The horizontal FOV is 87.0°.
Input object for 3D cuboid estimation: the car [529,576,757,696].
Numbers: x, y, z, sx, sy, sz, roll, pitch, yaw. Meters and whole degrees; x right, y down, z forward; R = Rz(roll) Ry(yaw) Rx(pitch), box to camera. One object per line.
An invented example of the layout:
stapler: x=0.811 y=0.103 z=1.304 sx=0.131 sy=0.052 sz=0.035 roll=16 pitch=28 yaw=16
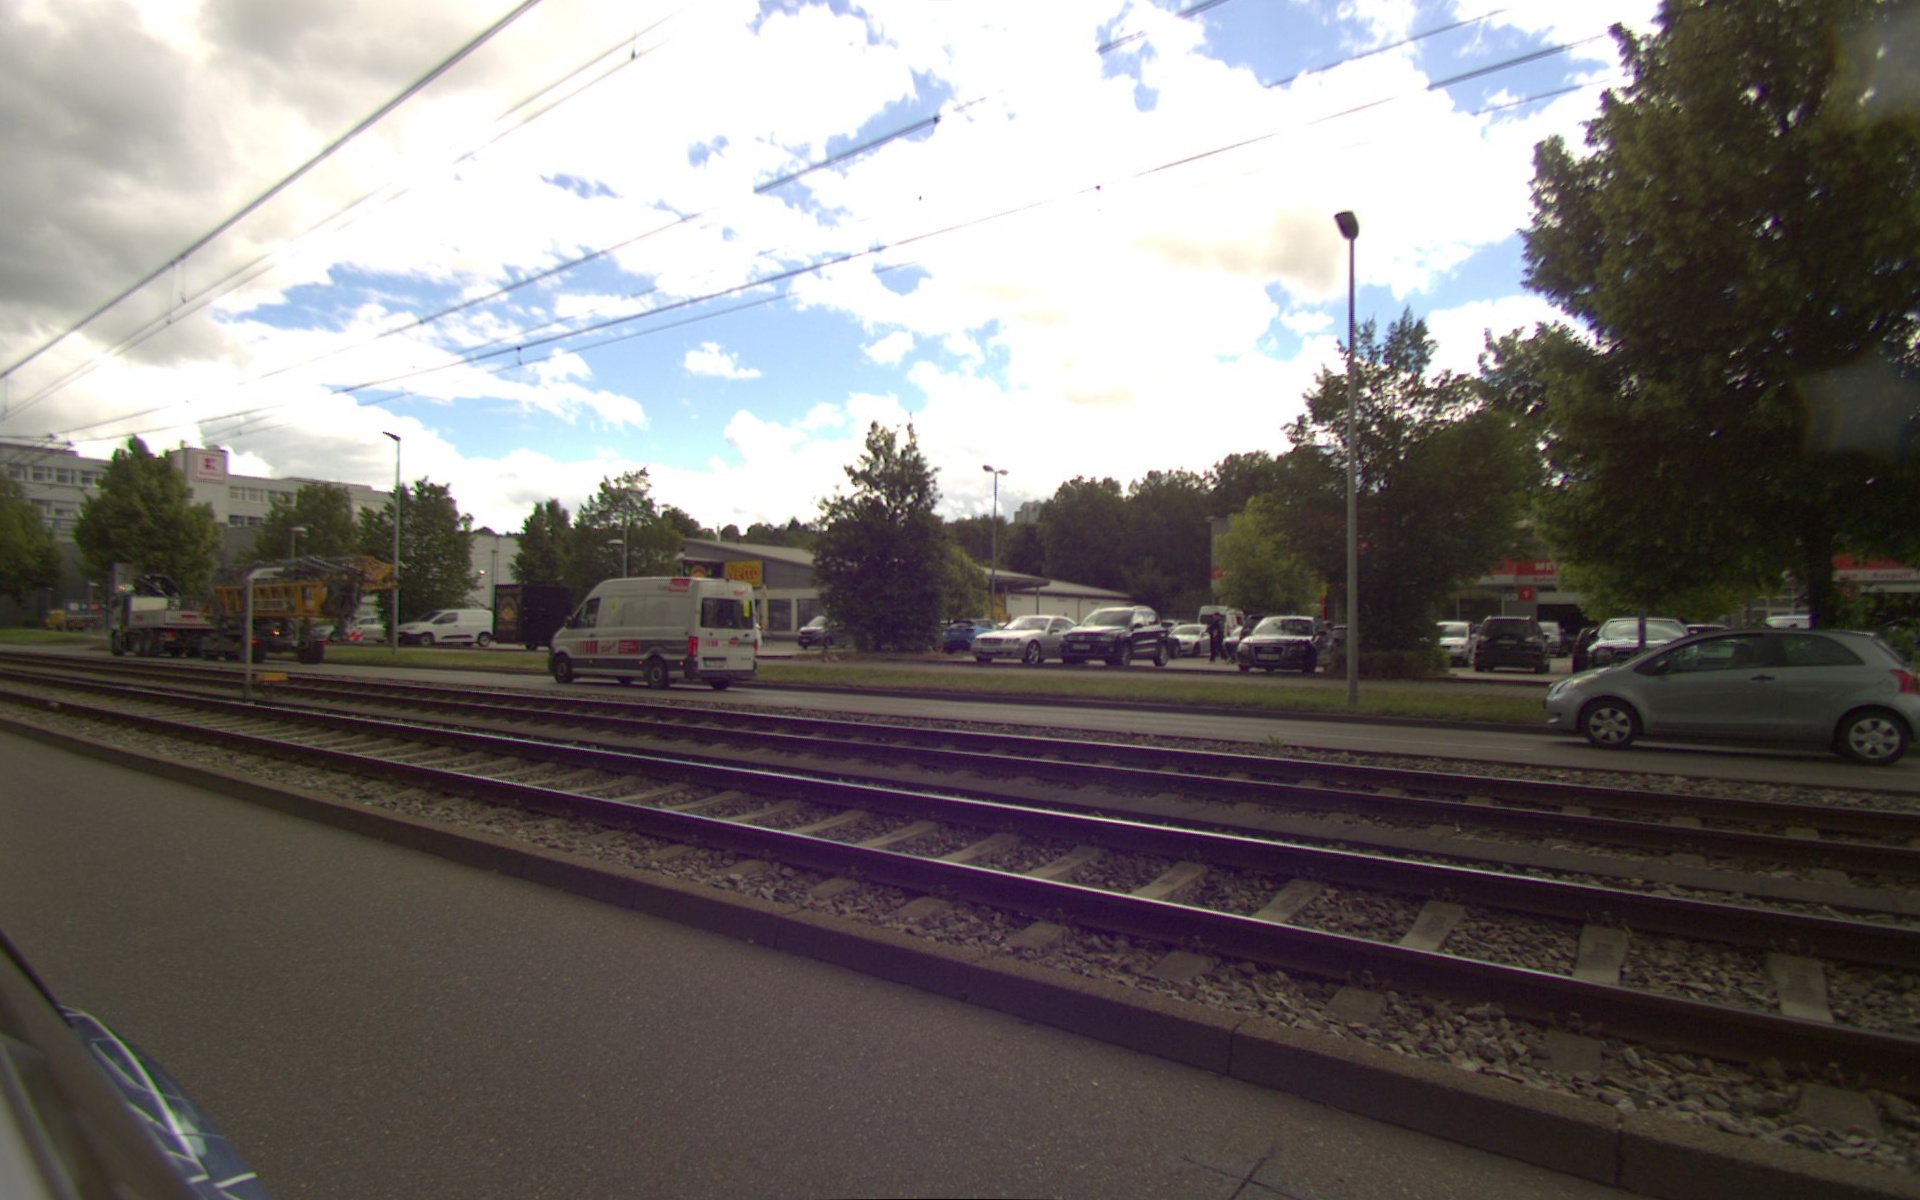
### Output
car: x=-7.571 y=0.853 z=23.834 sx=5.986 sy=2.518 sz=1.852 roll=-1 pitch=-4 yaw=35

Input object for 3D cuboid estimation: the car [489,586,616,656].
car: x=-17.283 y=0.950 z=43.079 sx=2.284 sy=2.769 sz=4.430 roll=-1 pitch=-3 yaw=36

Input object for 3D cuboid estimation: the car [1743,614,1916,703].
car: x=16.267 y=1.011 z=19.154 sx=2.089 sy=1.377 sz=3.952 roll=-1 pitch=0 yaw=36

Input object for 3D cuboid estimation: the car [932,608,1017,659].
car: x=0.676 y=1.413 z=43.714 sx=1.947 sy=2.029 sz=3.698 roll=-1 pitch=0 yaw=34

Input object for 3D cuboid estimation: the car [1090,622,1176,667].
car: x=6.759 y=1.691 z=39.263 sx=1.947 sy=1.501 sz=3.698 roll=-1 pitch=0 yaw=34

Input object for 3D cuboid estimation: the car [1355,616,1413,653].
car: x=20.844 y=1.642 z=49.705 sx=1.916 sy=1.634 sz=3.698 roll=-1 pitch=0 yaw=34

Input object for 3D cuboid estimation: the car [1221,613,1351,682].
car: x=8.047 y=1.099 z=24.777 sx=1.933 sy=1.432 sz=3.952 roll=-1 pitch=0 yaw=36

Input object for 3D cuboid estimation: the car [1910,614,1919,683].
car: x=17.985 y=0.922 z=17.303 sx=1.996 sy=1.245 sz=3.952 roll=-1 pitch=0 yaw=36

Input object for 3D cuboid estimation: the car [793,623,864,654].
car: x=-7.374 y=2.143 z=56.930 sx=1.773 sy=1.518 sz=3.953 roll=-1 pitch=0 yaw=35

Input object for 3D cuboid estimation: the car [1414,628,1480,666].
car: x=17.923 y=1.690 z=37.188 sx=1.661 sy=1.140 sz=3.698 roll=-1 pitch=0 yaw=34

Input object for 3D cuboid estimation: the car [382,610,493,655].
car: x=-25.042 y=1.512 z=48.615 sx=1.998 sy=1.933 sz=4.302 roll=-1 pitch=0 yaw=39

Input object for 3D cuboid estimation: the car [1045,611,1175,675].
car: x=4.178 y=1.125 z=27.744 sx=1.933 sy=1.518 sz=3.952 roll=-1 pitch=0 yaw=36

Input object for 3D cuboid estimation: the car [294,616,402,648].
car: x=-32.699 y=1.695 z=54.191 sx=1.998 sy=1.504 sz=4.555 roll=-1 pitch=0 yaw=39

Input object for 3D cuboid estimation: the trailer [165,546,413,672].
trailer: x=-24.844 y=0.466 z=36.891 sx=14.399 sy=3.927 sz=2.647 roll=-1 pitch=-4 yaw=37

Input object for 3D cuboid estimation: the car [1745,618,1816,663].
car: x=33.444 y=1.611 z=41.343 sx=1.996 sy=1.605 sz=3.952 roll=-1 pitch=0 yaw=36

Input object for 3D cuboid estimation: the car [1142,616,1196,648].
car: x=11.801 y=1.791 z=56.929 sx=1.719 sy=1.634 sz=3.698 roll=-1 pitch=0 yaw=34

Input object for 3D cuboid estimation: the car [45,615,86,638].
car: x=-81.918 y=2.434 z=92.693 sx=3.991 sy=2.029 sz=1.976 roll=-1 pitch=-3 yaw=36

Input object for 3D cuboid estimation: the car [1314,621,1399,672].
car: x=13.606 y=1.540 z=34.629 sx=1.947 sy=1.509 sz=3.698 roll=-1 pitch=0 yaw=34

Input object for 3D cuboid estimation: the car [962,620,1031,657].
car: x=1.840 y=1.891 z=50.108 sx=1.719 sy=1.634 sz=3.698 roll=-1 pitch=0 yaw=34

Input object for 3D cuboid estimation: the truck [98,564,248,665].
truck: x=-34.095 y=0.710 z=43.716 sx=8.615 sy=3.997 sz=2.866 roll=-1 pitch=-3 yaw=37

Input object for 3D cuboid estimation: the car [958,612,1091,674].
car: x=1.906 y=1.170 z=28.923 sx=1.998 sy=1.518 sz=3.952 roll=-1 pitch=0 yaw=36

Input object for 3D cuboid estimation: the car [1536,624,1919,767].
car: x=9.388 y=1.082 z=12.300 sx=3.991 sy=1.494 sz=1.976 roll=-1 pitch=-4 yaw=35

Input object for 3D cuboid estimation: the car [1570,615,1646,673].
car: x=19.799 y=1.336 z=30.880 sx=1.821 sy=1.660 sz=3.697 roll=-1 pitch=-3 yaw=34

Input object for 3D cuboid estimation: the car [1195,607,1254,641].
car: x=14.212 y=1.257 z=54.259 sx=1.916 sy=1.634 sz=3.698 roll=-1 pitch=0 yaw=34

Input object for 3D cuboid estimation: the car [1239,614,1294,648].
car: x=16.063 y=1.601 z=52.913 sx=1.719 sy=1.634 sz=3.698 roll=-1 pitch=0 yaw=34

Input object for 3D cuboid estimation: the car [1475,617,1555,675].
car: x=17.167 y=1.409 z=31.233 sx=1.821 sy=1.660 sz=3.697 roll=-1 pitch=-3 yaw=34

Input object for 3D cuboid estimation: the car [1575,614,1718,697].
car: x=13.965 y=1.042 z=20.574 sx=2.191 sy=1.364 sz=4.335 roll=-1 pitch=0 yaw=36
